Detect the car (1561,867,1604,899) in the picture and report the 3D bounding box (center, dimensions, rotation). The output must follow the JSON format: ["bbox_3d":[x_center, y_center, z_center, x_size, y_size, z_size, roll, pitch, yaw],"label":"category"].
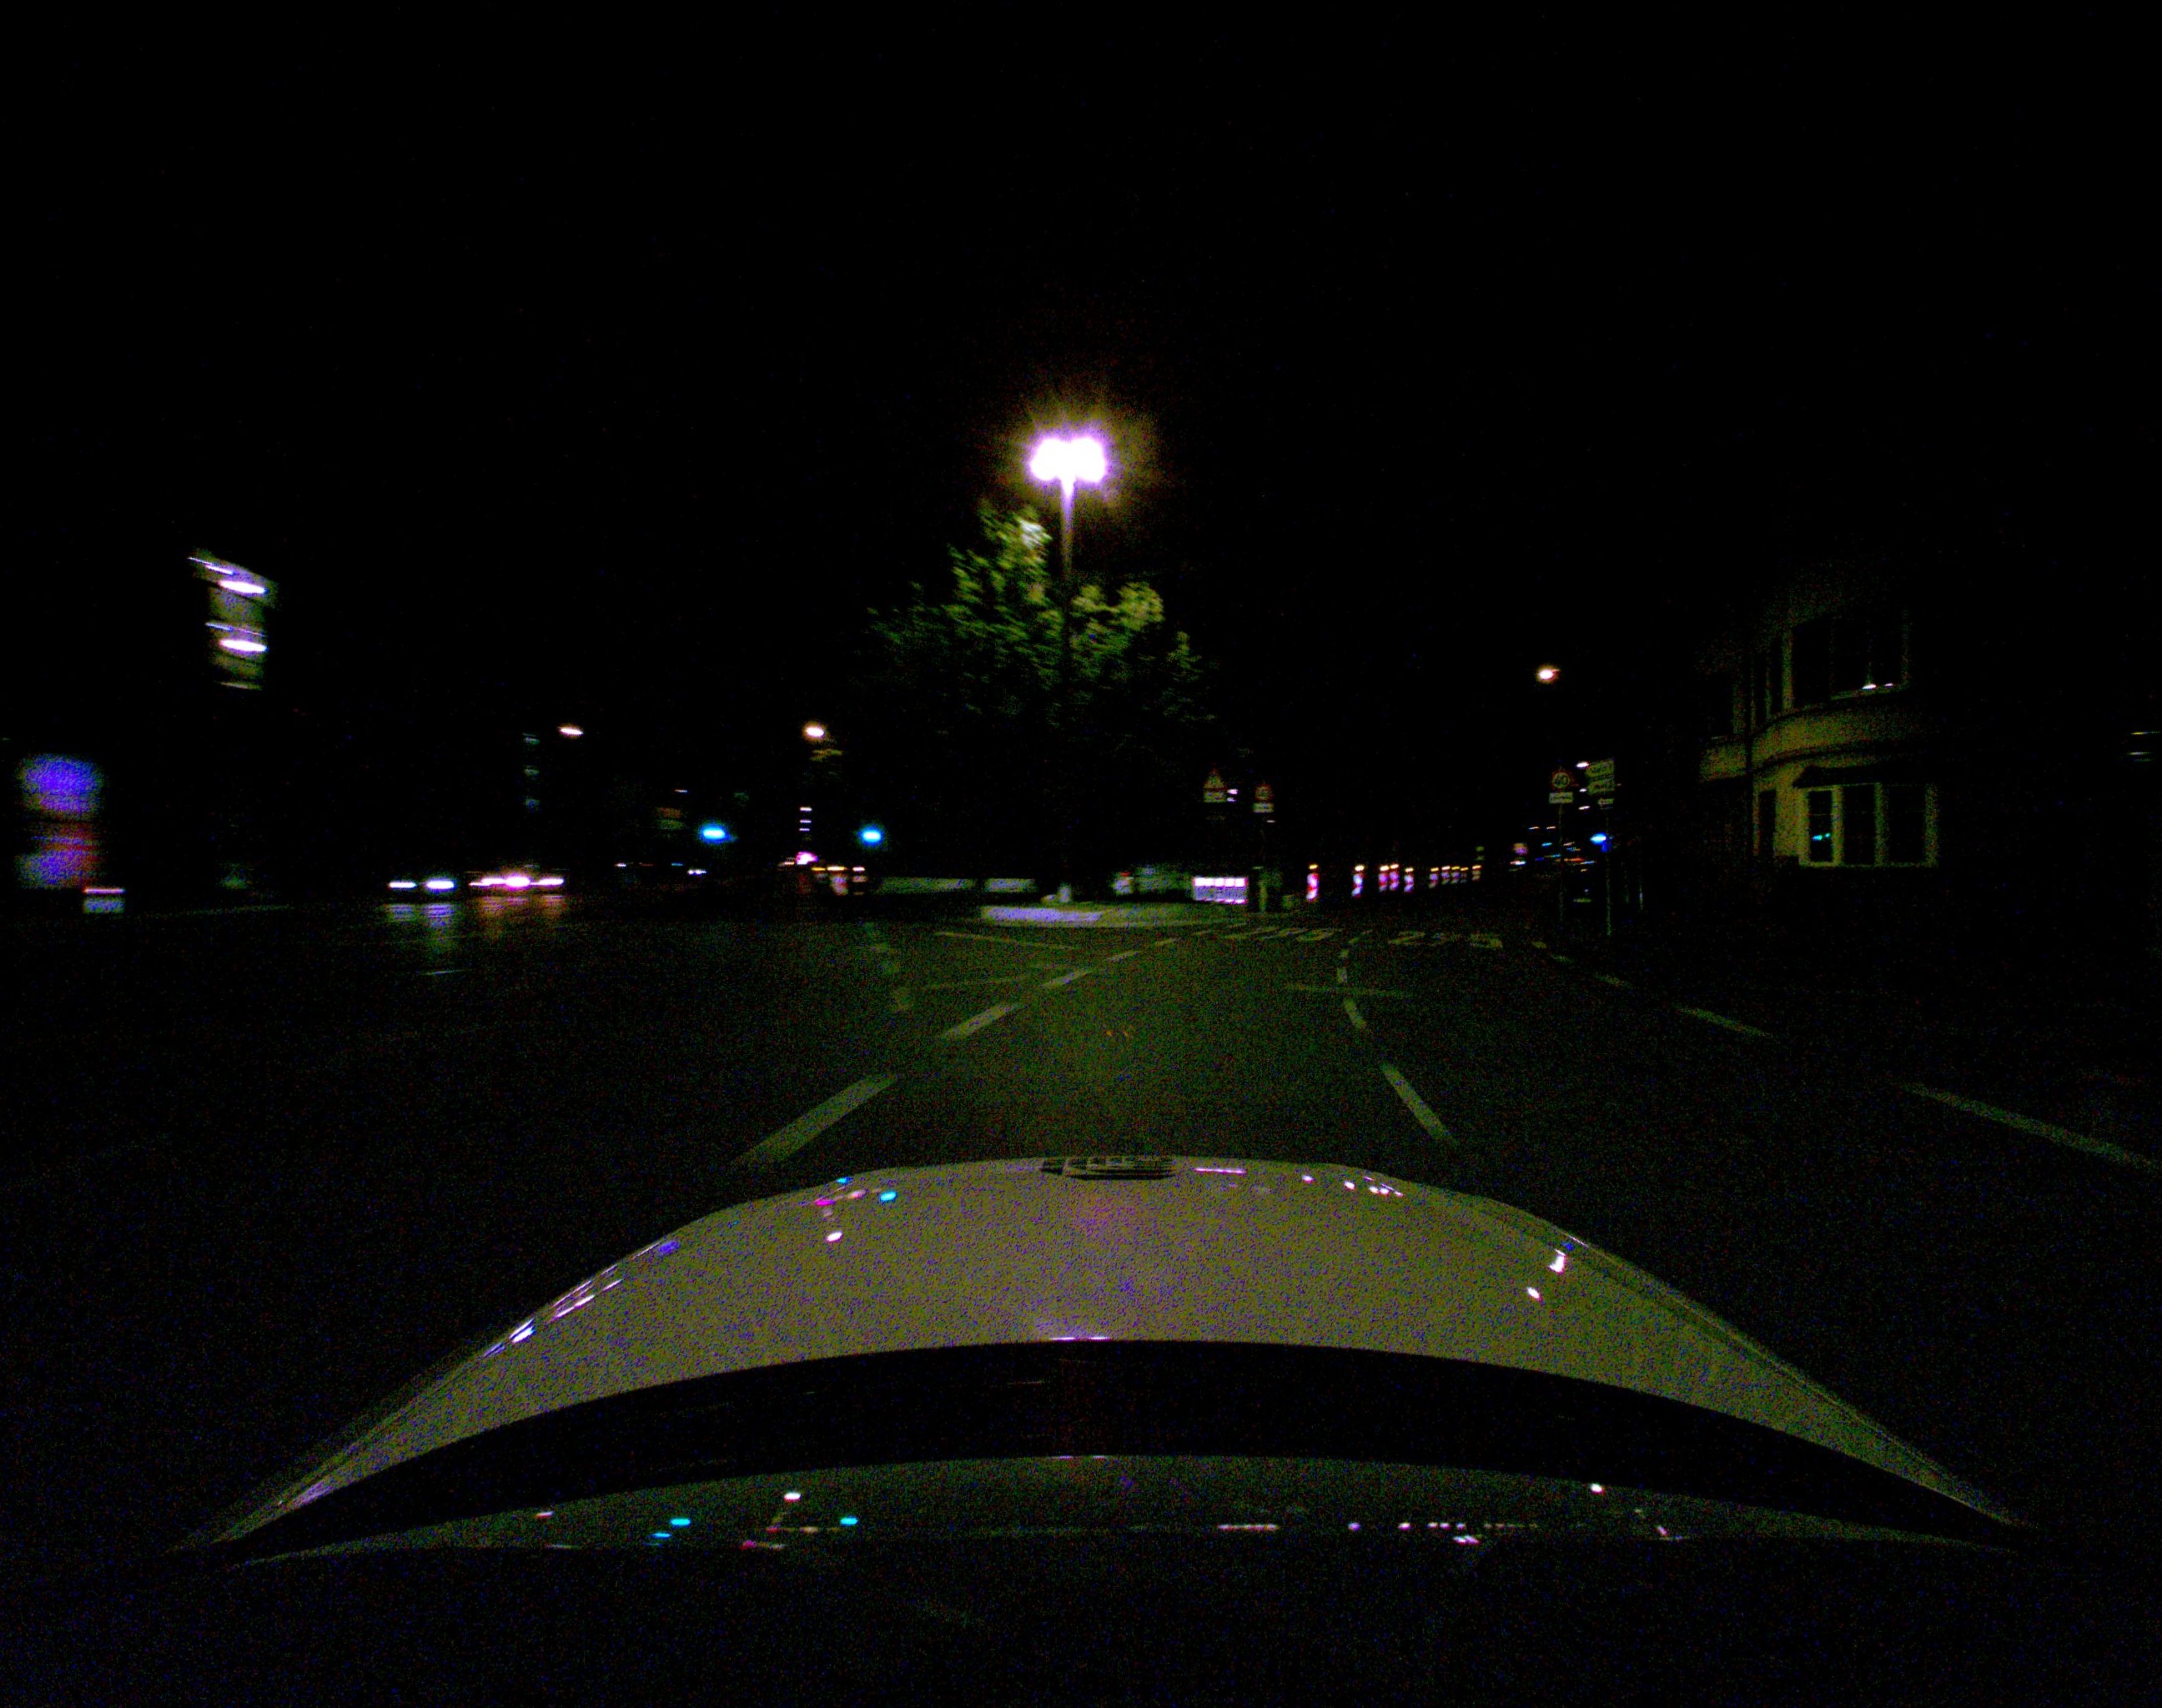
[{"bbox_3d":[25.414,1.448,41.325,1.727,1.566,4.236,-2,-2,31],"label":"car"}]

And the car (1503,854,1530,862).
[{"bbox_3d":[82.840,0.705,155.028,4.396,1.450,2.012,0,-1,32],"label":"car"}]

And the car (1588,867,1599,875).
[{"bbox_3d":[106.571,3.504,169.325,1.974,1.516,4.025,1,0,33],"label":"car"}]

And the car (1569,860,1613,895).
[{"bbox_3d":[30.513,1.400,48.806,2.052,1.929,5.404,-2,-2,32],"label":"car"}]

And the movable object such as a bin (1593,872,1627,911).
[{"bbox_3d":[20.170,1.423,31.076,0.928,1.432,1.347,-2,-2,29],"label":"movable object such as a bin"}]

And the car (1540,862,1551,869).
[{"bbox_3d":[108.348,2.741,189.899,1.974,1.502,4.025,0,-1,32],"label":"car"}]

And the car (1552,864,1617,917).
[{"bbox_3d":[17.193,1.211,27.887,1.727,1.683,4.284,-2,-2,31],"label":"car"}]

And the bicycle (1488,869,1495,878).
[{"bbox_3d":[50.296,2.354,99.743,0.613,1.052,1.732,0,-1,33],"label":"bicycle"}]
